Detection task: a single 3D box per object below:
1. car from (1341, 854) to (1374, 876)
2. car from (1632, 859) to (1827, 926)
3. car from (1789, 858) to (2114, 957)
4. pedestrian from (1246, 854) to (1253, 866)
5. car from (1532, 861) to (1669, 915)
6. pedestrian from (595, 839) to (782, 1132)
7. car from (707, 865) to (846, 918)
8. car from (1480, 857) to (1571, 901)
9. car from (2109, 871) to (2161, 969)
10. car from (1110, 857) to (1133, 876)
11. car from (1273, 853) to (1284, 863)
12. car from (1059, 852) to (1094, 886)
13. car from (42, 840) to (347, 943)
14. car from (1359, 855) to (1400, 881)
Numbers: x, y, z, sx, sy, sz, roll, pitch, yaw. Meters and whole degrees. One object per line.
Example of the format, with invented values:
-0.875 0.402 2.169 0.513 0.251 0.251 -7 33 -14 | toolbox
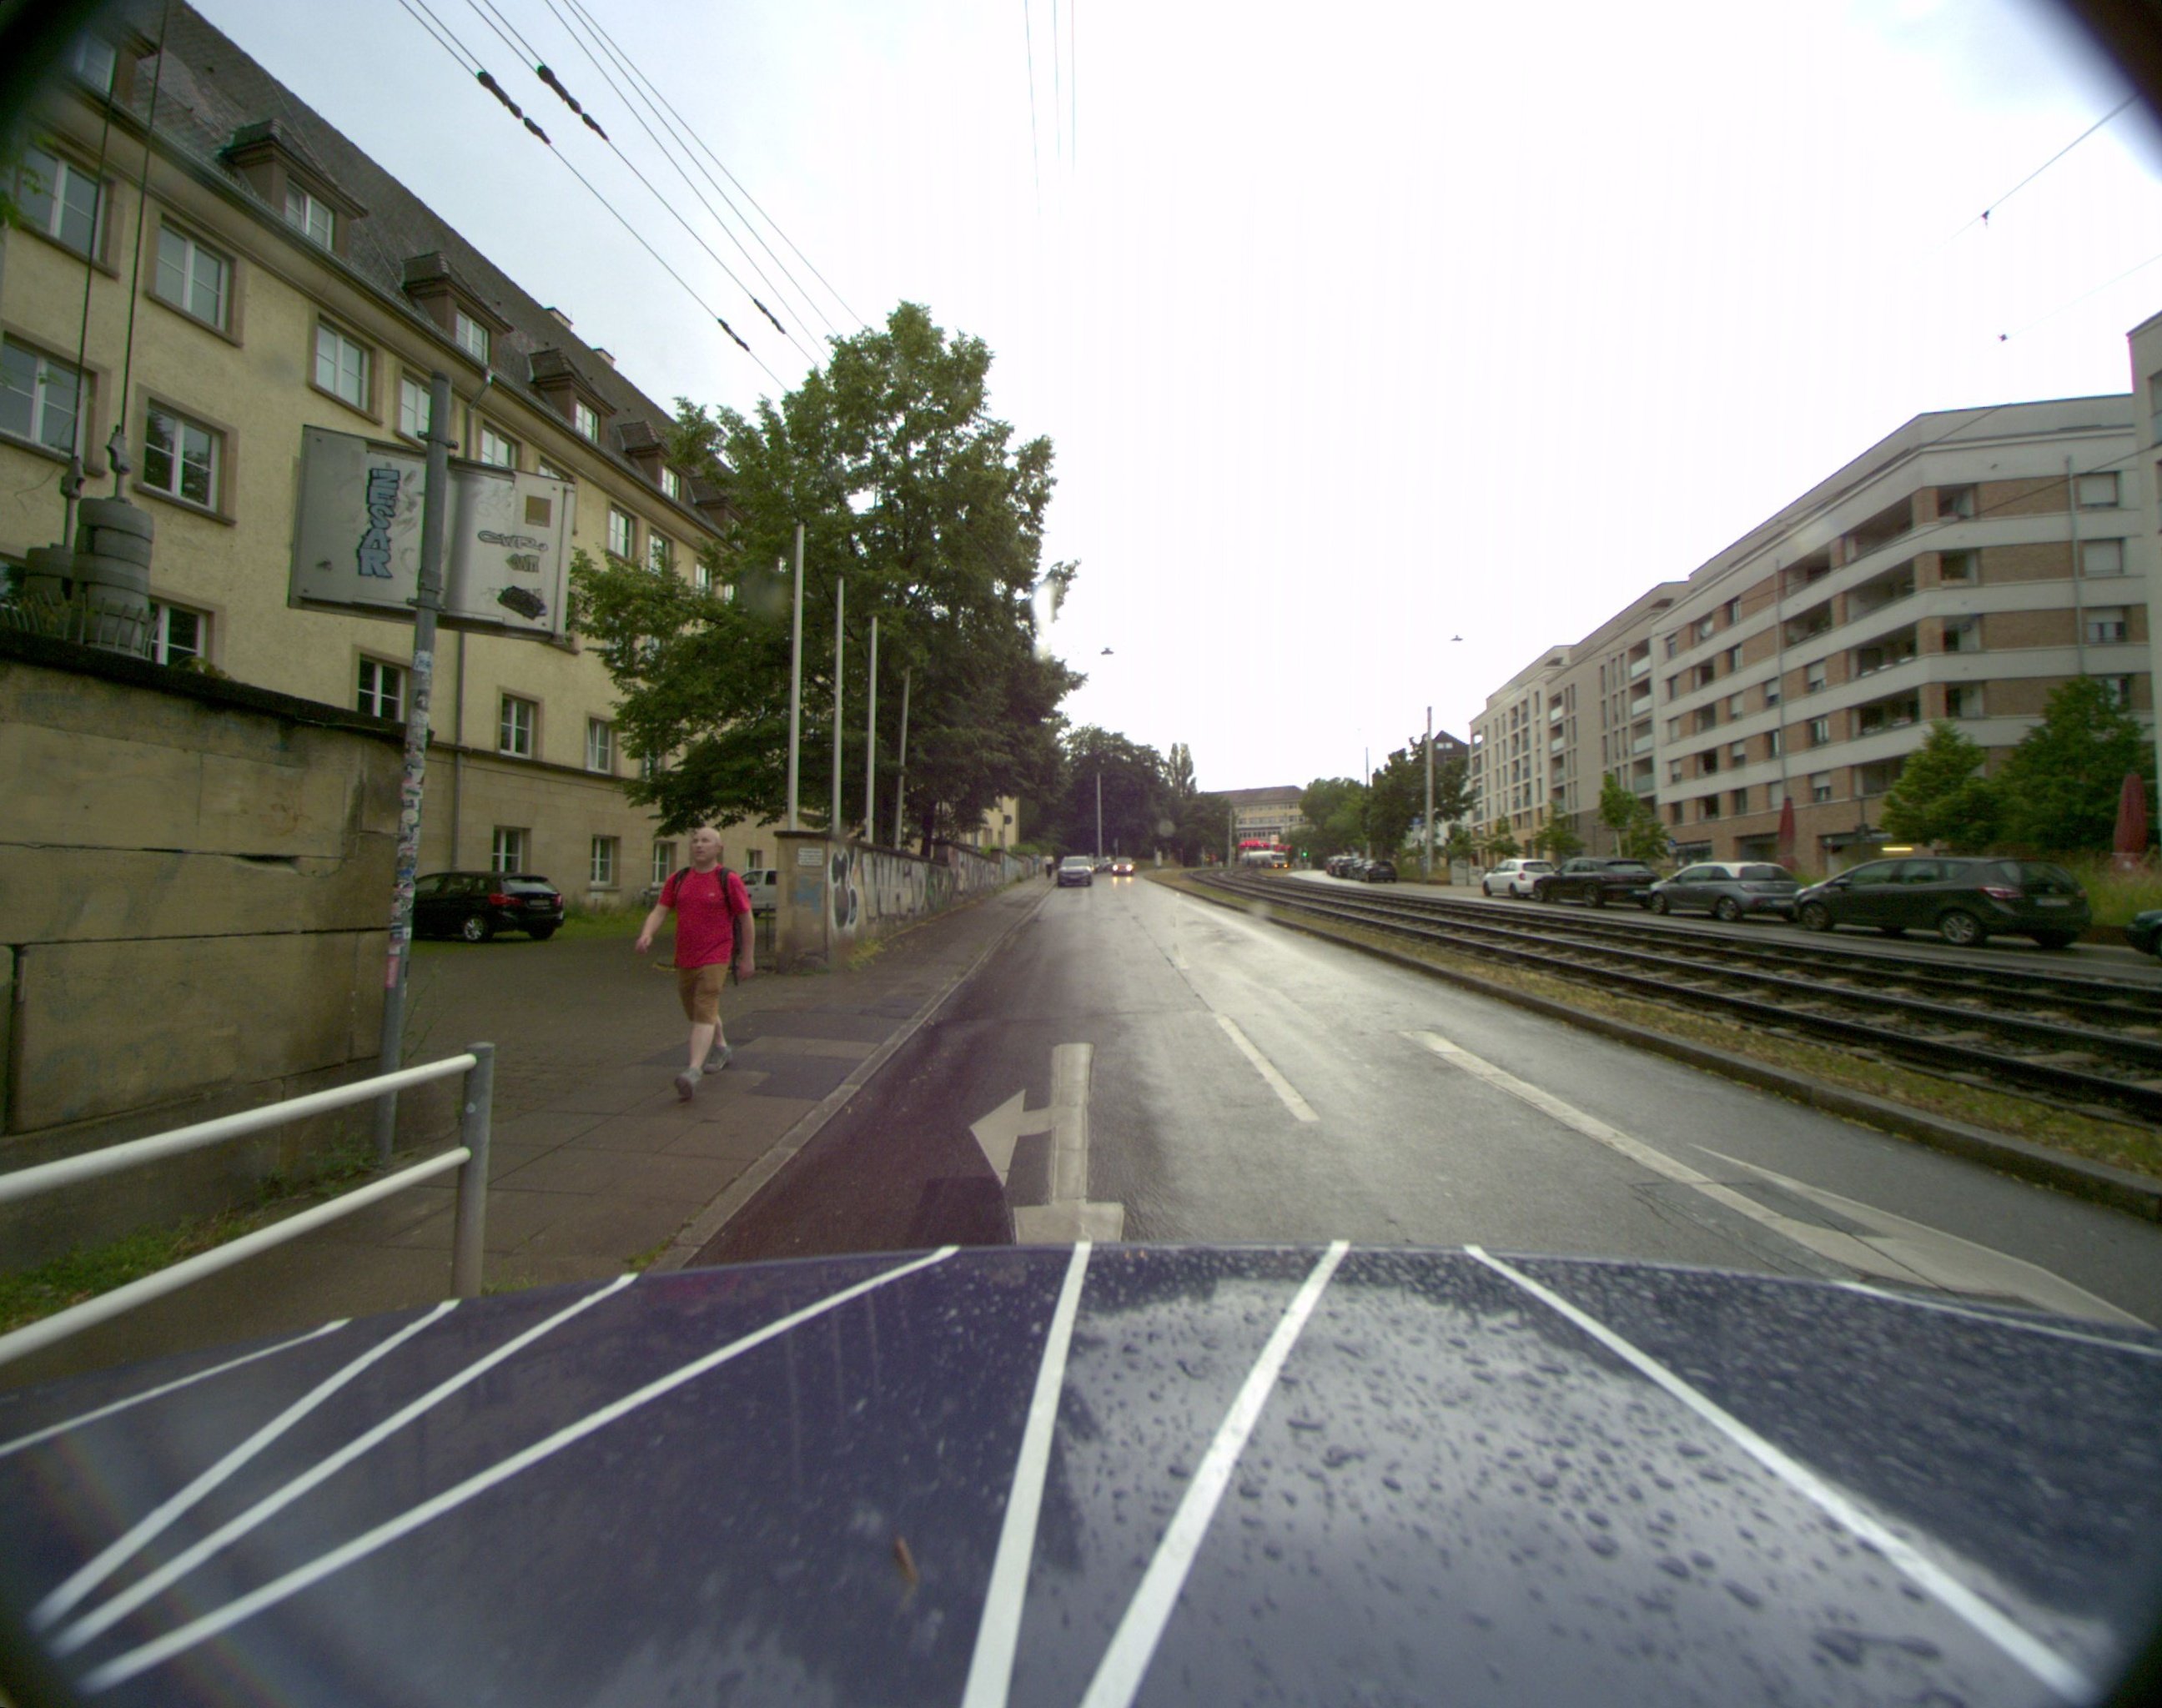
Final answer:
20.535 0.788 56.532 1.653 1.455 3.672 -2 1 9 | car
16.547 0.909 19.687 1.684 1.496 3.928 -1 0 0 | car
16.178 0.886 14.482 1.684 1.554 3.928 -1 0 0 | car
24.996 0.869 112.661 0.747 1.754 0.820 2 0 38 | pedestrian
16.562 1.024 24.515 1.683 1.496 4.406 -1 0 5 | car
-2.543 0.799 5.021 0.748 1.754 0.818 2 0 0 | pedestrian
-11.513 1.402 28.830 4.526 1.769 1.824 -2 1 11 | car
17.136 0.917 29.495 1.649 1.496 3.782 -1 0 6 | car
16.361 0.958 9.459 1.684 1.372 4.032 -1 0 0 | car
3.281 1.017 62.060 1.594 1.455 3.669 0 0 0 | car
34.860 0.653 134.223 1.666 1.597 3.812 -2 1 16 | car
-0.255 0.755 41.002 1.726 1.676 3.866 -3 1 0 | car
-14.323 0.589 12.321 3.909 1.461 1.614 -2 1 15 | car
19.038 0.860 48.564 1.653 1.455 3.672 -2 1 9 | car
